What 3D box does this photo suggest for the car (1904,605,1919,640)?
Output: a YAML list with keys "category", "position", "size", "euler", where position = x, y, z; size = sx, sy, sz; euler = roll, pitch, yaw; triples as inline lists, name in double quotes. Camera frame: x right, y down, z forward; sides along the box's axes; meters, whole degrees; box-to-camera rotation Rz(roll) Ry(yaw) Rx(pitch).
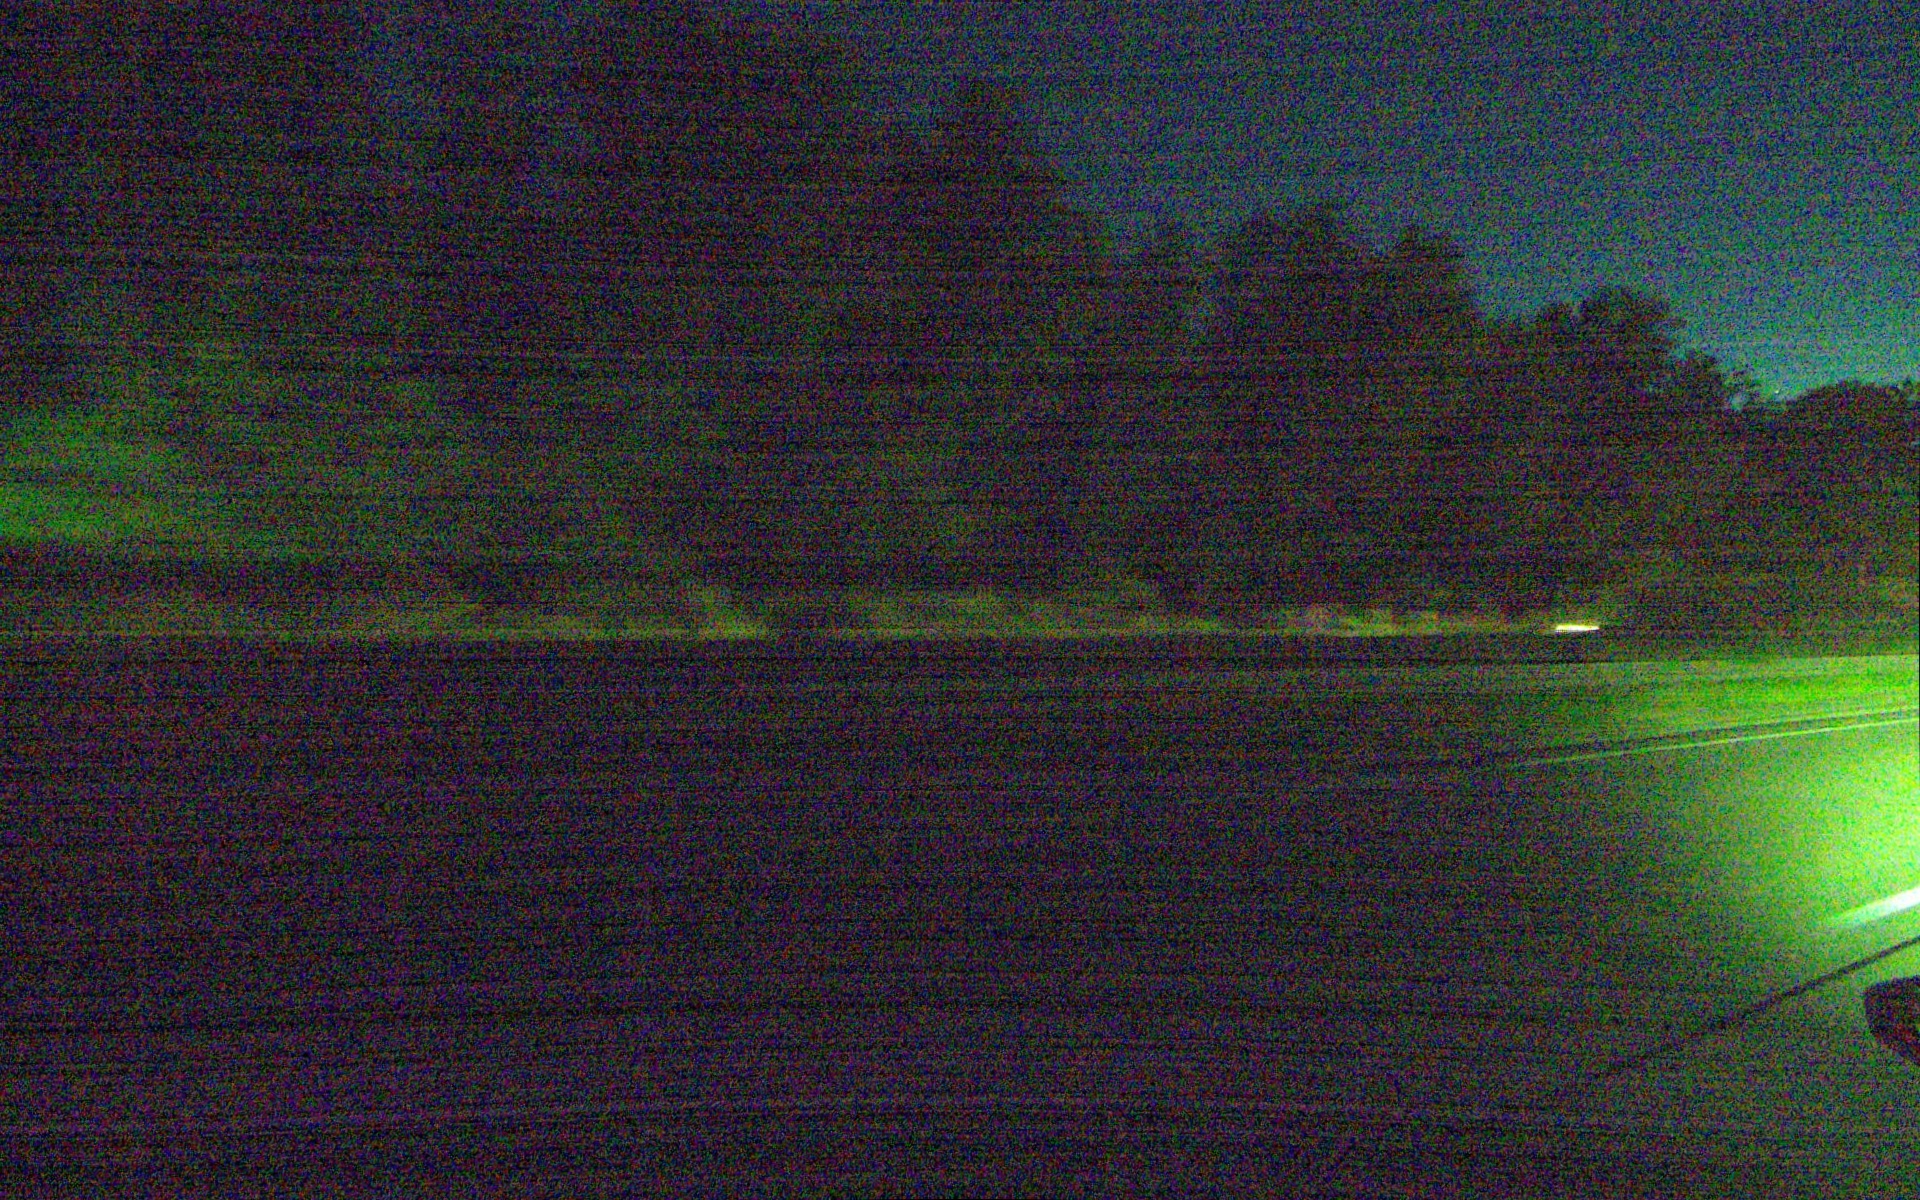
- category: "car"
  position: [44.572, 1.109, 45.317]
  size: [3.956, 1.535, 1.850]
  euler: [2, 3, -32]
